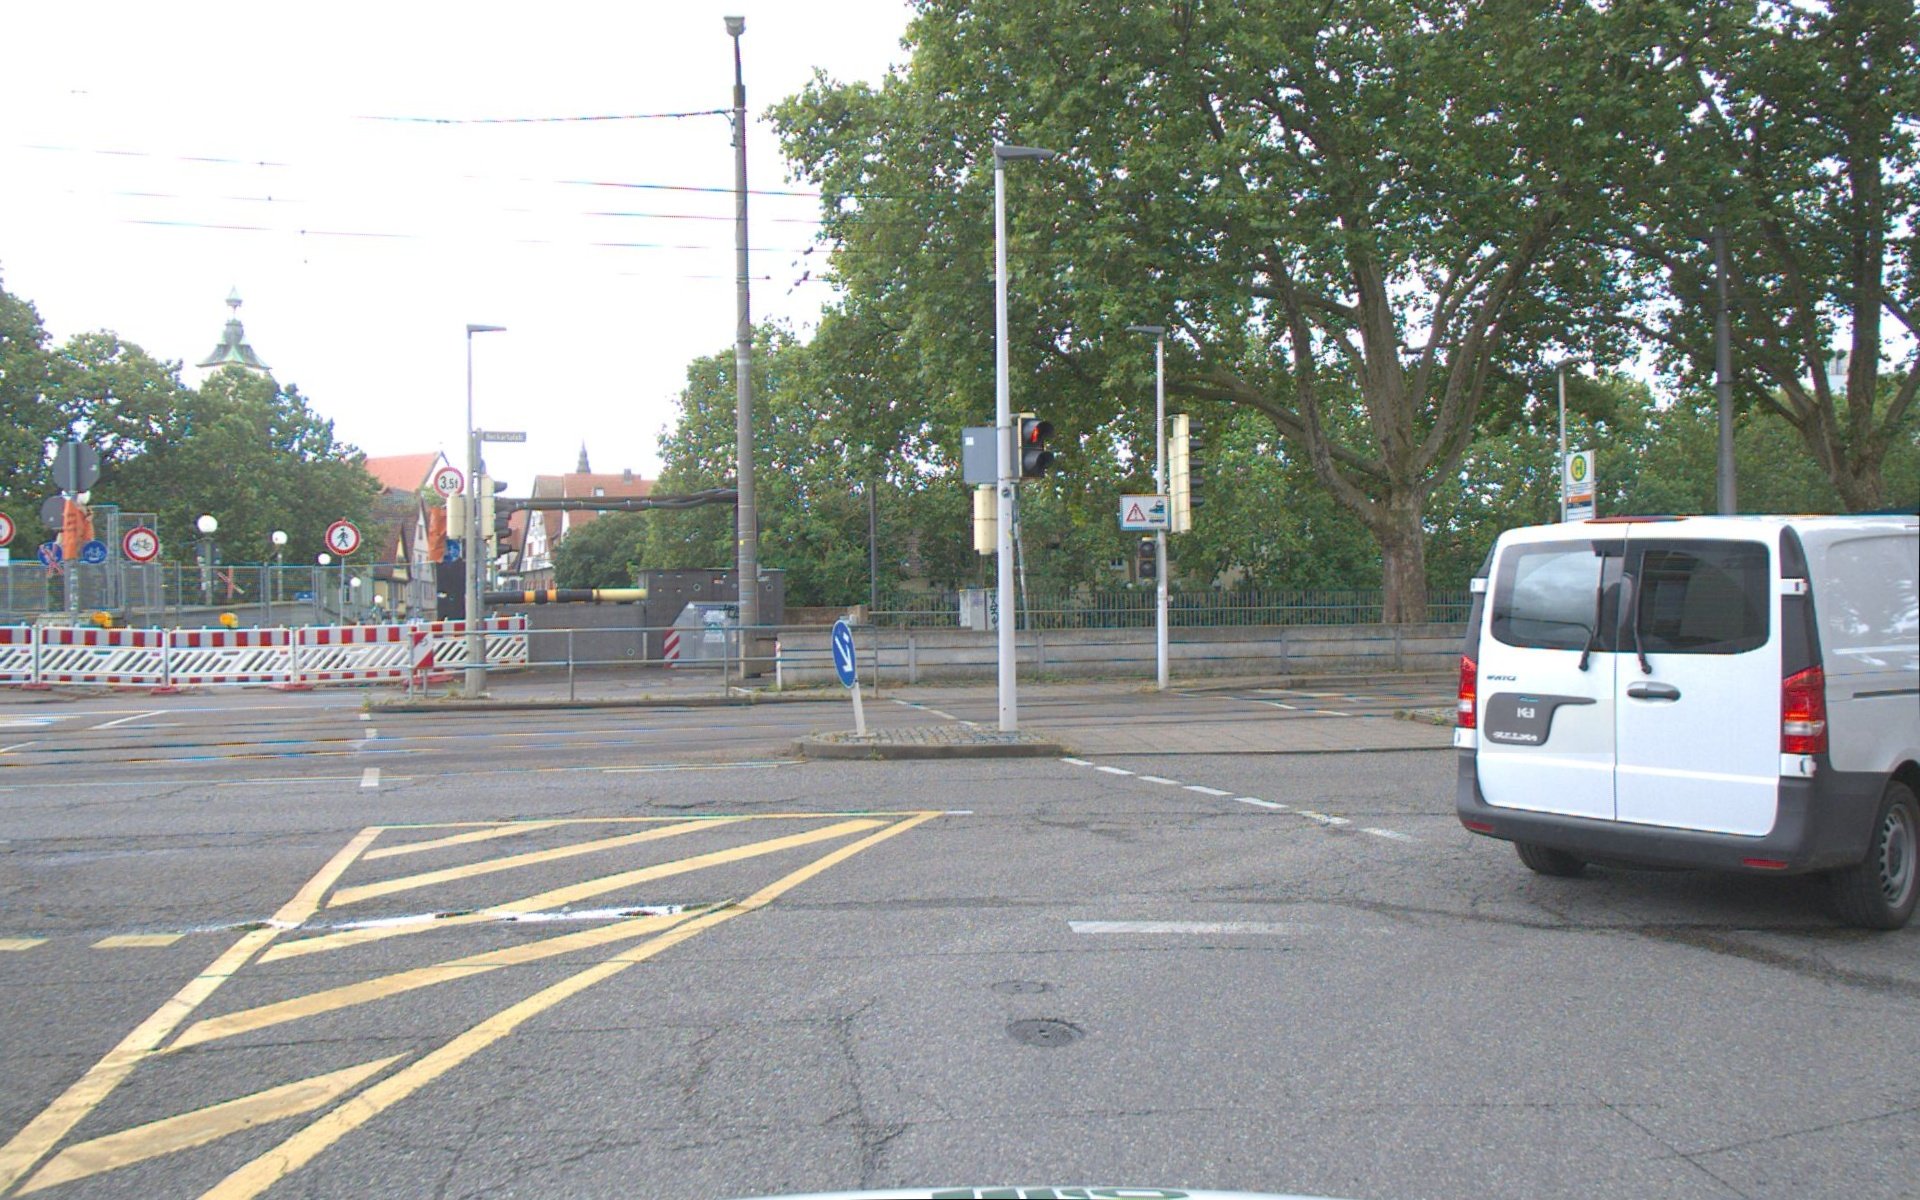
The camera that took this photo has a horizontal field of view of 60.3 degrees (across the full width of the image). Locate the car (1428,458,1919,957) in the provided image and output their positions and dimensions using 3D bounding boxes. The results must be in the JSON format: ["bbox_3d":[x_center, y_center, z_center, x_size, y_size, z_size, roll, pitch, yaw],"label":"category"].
[{"bbox_3d":[4.696,0.452,9.086,4.657,2.049,1.927,1,0,-42],"label":"car"}]
